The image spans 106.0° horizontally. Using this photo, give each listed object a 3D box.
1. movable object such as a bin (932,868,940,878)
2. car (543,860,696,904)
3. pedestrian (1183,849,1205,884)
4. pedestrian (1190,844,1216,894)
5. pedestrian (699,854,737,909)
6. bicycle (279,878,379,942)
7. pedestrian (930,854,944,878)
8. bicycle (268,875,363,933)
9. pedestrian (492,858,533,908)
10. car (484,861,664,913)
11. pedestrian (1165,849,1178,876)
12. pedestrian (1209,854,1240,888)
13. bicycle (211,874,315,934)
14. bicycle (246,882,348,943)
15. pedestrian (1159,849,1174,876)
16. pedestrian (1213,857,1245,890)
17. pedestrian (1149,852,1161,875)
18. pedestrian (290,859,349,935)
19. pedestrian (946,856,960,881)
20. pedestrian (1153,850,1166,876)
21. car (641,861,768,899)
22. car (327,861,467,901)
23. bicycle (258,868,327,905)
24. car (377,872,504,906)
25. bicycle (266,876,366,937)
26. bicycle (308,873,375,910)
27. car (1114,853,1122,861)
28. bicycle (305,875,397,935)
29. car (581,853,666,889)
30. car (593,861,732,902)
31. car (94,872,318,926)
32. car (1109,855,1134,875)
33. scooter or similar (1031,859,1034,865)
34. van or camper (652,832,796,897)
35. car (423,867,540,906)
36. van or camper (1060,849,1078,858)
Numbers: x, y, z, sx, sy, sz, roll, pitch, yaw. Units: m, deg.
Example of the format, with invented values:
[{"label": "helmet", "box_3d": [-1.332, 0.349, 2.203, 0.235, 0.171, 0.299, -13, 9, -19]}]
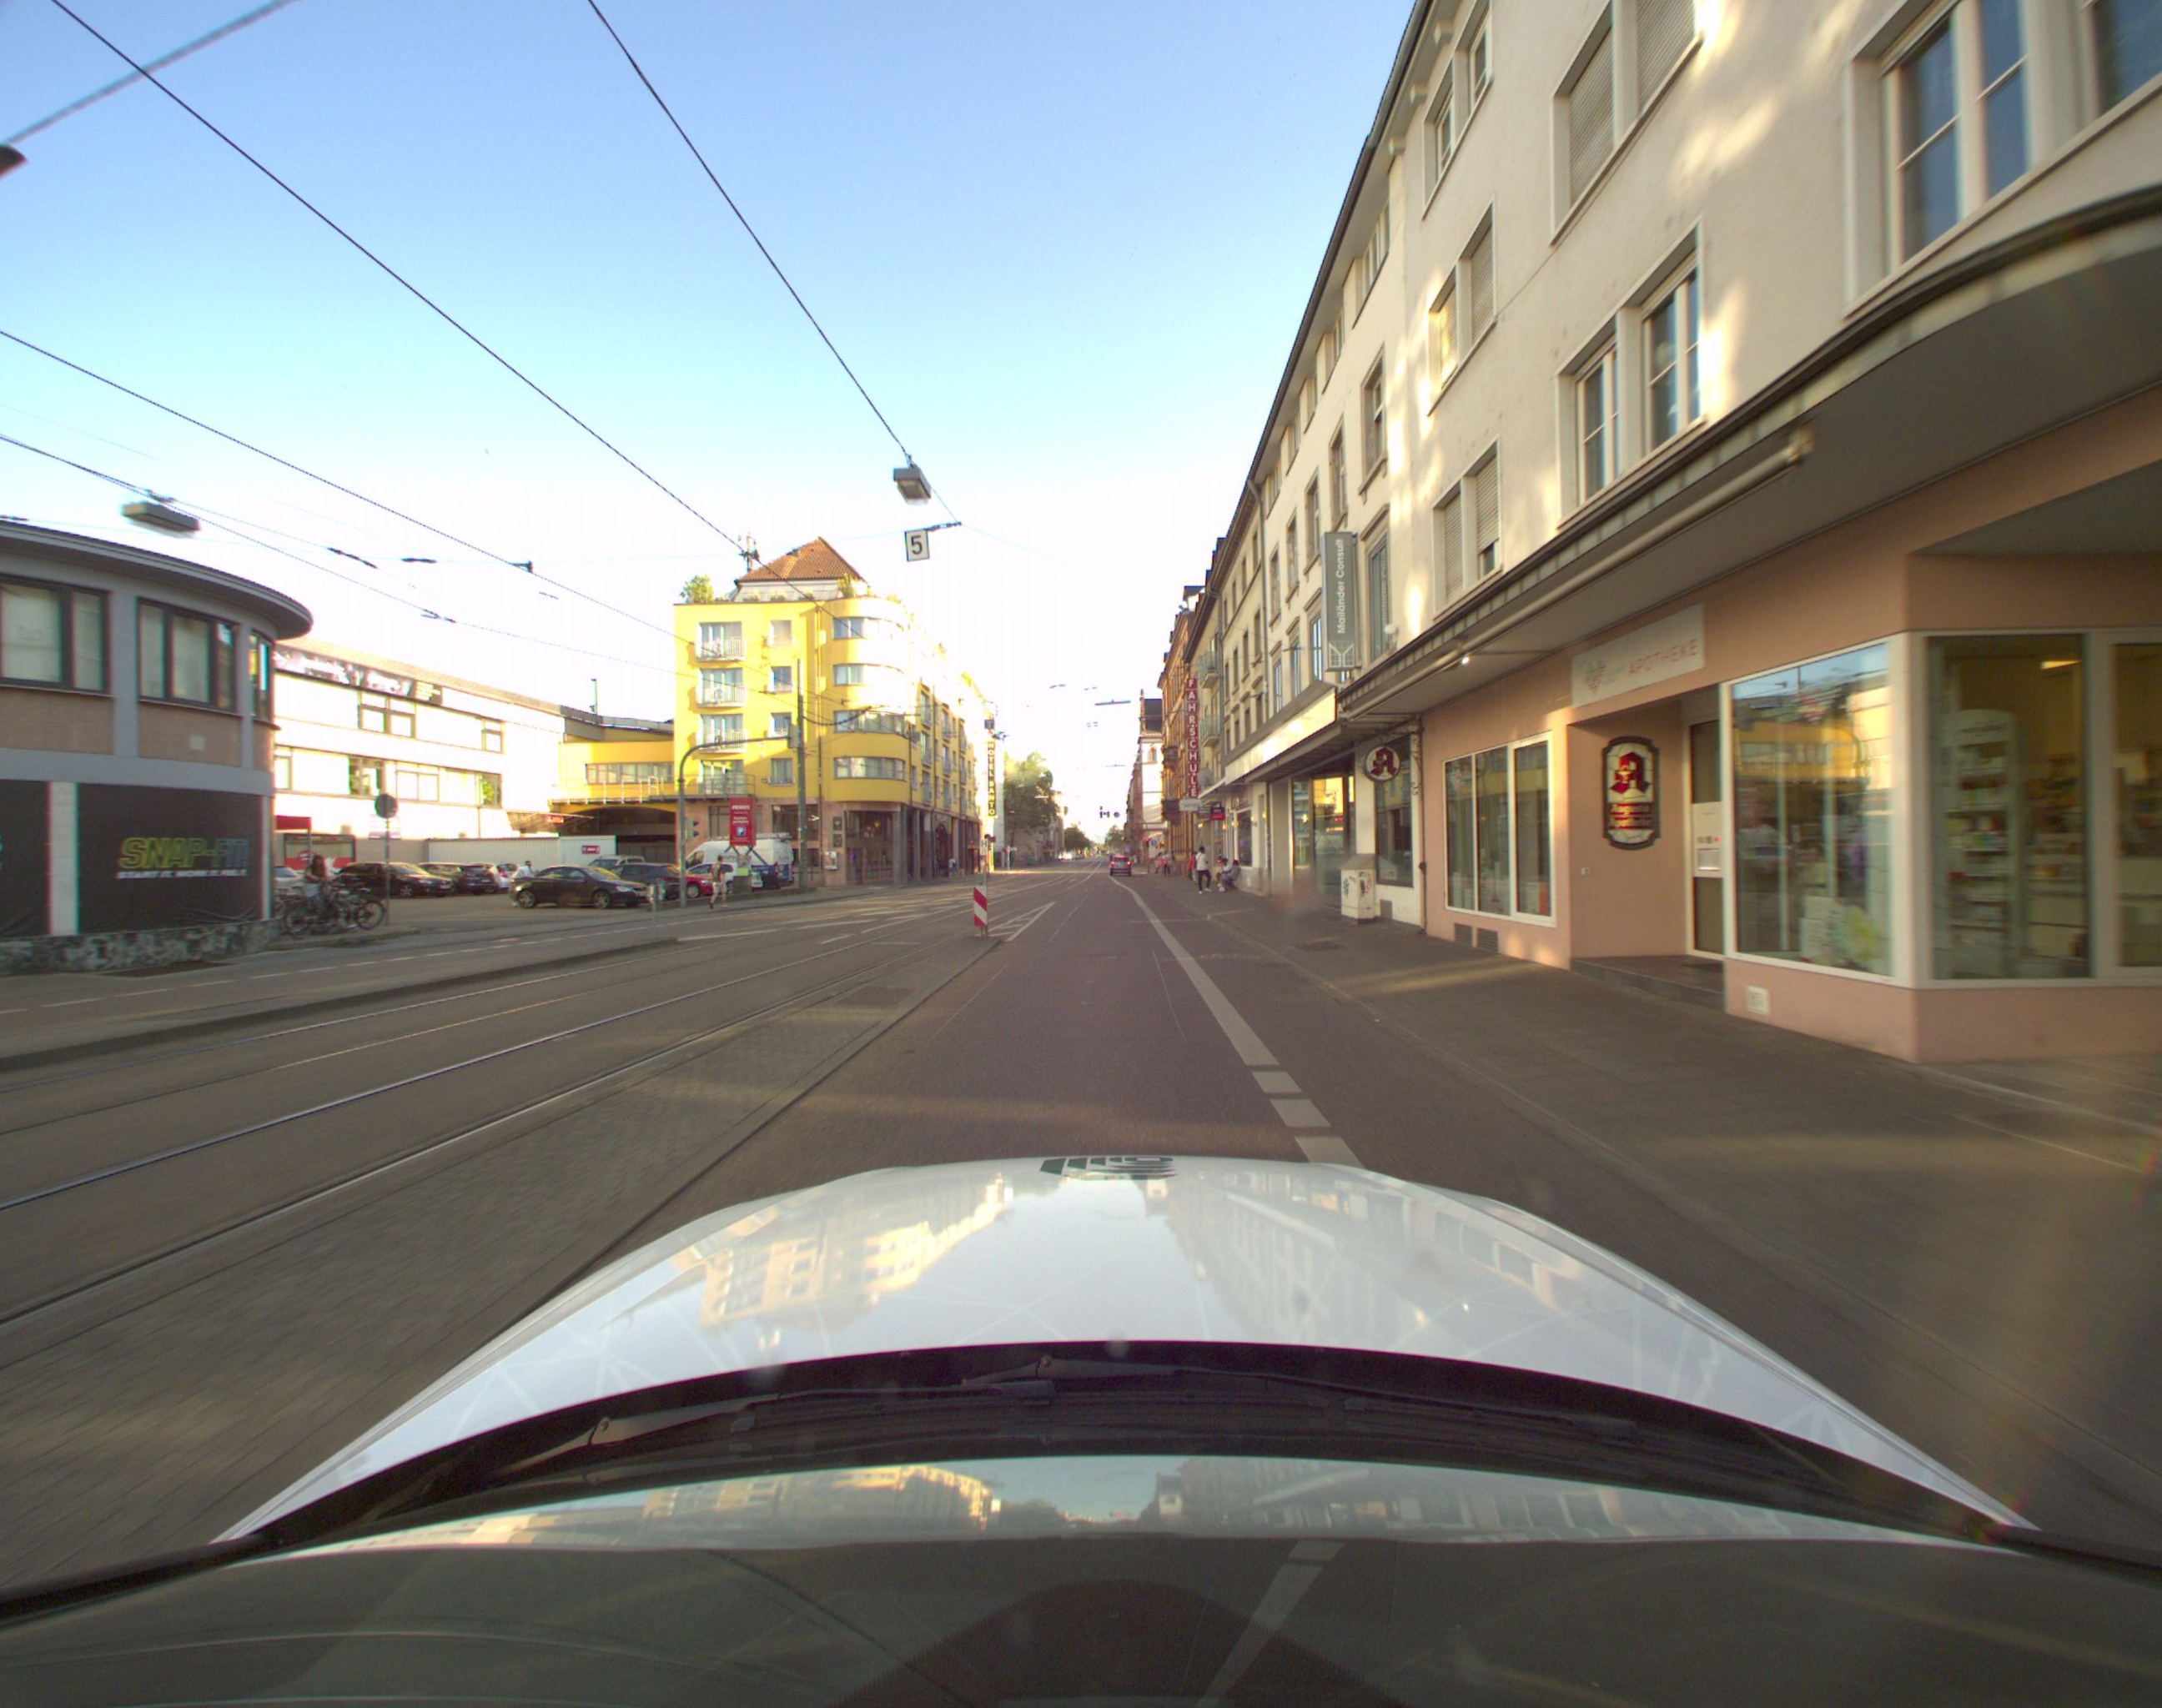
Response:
[{"label": "movable object such as a bin", "box_3d": [-10.914, 1.457, 61.354, 0.381, 0.716, 0.842, 4, 0, 3]}, {"label": "car", "box_3d": [-16.957, 1.014, 30.069, 4.570, 1.475, 1.881, -1, 0, 2]}, {"label": "pedestrian", "box_3d": [5.516, 0.614, 39.851, 0.795, 1.627, 0.826, -7, 0, 2]}, {"label": "pedestrian", "box_3d": [4.759, 0.577, 31.695, 0.699, 1.812, 0.682, -7, 0, 17]}, {"label": "pedestrian", "box_3d": [-12.432, 0.918, 27.930, 0.830, 1.832, 0.910, -1, 0, 1]}, {"label": "bicycle", "box_3d": [-15.655, 1.133, 17.015, 0.444, 1.187, 1.829, -1, 0, -4]}, {"label": "pedestrian", "box_3d": [-11.017, 0.935, 62.195, 0.795, 1.771, 0.750, 4, 0, 2]}, {"label": "bicycle", "box_3d": [-17.517, 1.115, 18.697, 0.446, 1.187, 1.831, -1, 0, -1]}, {"label": "pedestrian", "box_3d": [-19.340, 0.974, 27.712, 0.766, 1.669, 0.837, -1, 0, 3]}, {"label": "car", "box_3d": [-16.910, 1.077, 27.316, 4.875, 1.583, 1.881, -1, 0, 2]}, {"label": "pedestrian", "box_3d": [6.512, 0.609, 58.566, 0.688, 1.908, 0.670, -5, 0, 0]}, {"label": "pedestrian", "box_3d": [5.810, 0.700, 32.920, 0.834, 1.255, 0.699, -7, 0, -33]}, {"label": "bicycle", "box_3d": [-18.110, 1.079, 18.095, 0.446, 1.187, 1.831, -1, 0, -1]}, {"label": "bicycle", "box_3d": [-17.096, 1.240, 17.810, 0.441, 1.187, 1.831, -1, 0, -1]}, {"label": "pedestrian", "box_3d": [5.831, 0.561, 55.454, 0.803, 1.800, 1.092, -5, 0, 0]}, {"label": "pedestrian", "box_3d": [5.774, 0.755, 31.826, 0.707, 1.174, 1.010, -7, 0, -17]}, {"label": "pedestrian", "box_3d": [6.045, 0.760, 66.473, 0.802, 1.800, 0.762, -5, 0, 2]}, {"label": "pedestrian", "box_3d": [-17.566, 0.976, 18.794, 0.678, 1.697, 0.683, -1, 0, 0]}, {"label": "pedestrian", "box_3d": [-9.745, 1.113, 62.164, 0.749, 1.818, 1.046, 4, 0, 2]}, {"label": "pedestrian", "box_3d": [5.742, 0.661, 59.601, 0.803, 1.800, 0.761, -5, 0, 0]}, {"label": "car", "box_3d": [-16.165, 1.092, 35.094, 4.570, 1.475, 1.881, -1, 0, 2]}, {"label": "car", "box_3d": [-27.816, 1.076, 33.229, 3.974, 1.508, 1.999, -1, 0, -1]}, {"label": "bicycle", "box_3d": [-27.941, 1.133, 28.884, 0.429, 1.187, 1.836, -1, 0, 9]}, {"label": "car", "box_3d": [-28.082, 1.530, 35.797, 3.974, 1.354, 1.999, -1, 0, -1]}, {"label": "bicycle", "box_3d": [-16.635, 1.120, 17.777, 0.446, 1.187, 1.831, -1, 0, -1]}, {"label": "bicycle", "box_3d": [-25.936, 1.295, 28.600, 0.429, 1.187, 1.836, -1, 0, 9]}, {"label": "car", "box_3d": [8.627, 0.698, 190.300, 1.942, 1.684, 4.003, -1, 0, 3]}, {"label": "bicycle", "box_3d": [-16.144, 1.098, 18.072, 0.439, 1.187, 1.829, -1, 0, -3]}, {"label": "car", "box_3d": [-23.723, 0.861, 42.416, 1.987, 1.736, 4.121, -1, 0, 1]}, {"label": "car", "box_3d": [-16.714, 1.099, 32.678, 4.570, 1.475, 1.881, -1, 0, 2]}, {"label": "car", "box_3d": [-27.646, 1.382, 25.896, 4.589, 1.475, 1.873, -1, 0, -11]}, {"label": "car", "box_3d": [3.316, 0.893, 67.520, 1.986, 1.618, 4.001, -1, 0, 2]}, {"label": "scooter or similar", "box_3d": [-8.434, 1.352, 141.700, 0.515, 1.057, 1.478, -1, 0, 0]}, {"label": "van or camper", "box_3d": [-16.431, 0.470, 37.689, 5.583, 2.827, 2.317, -1, 0, 2]}, {"label": "car", "box_3d": [-28.045, 1.487, 38.196, 3.974, 1.700, 1.999, -1, 0, -1]}, {"label": "van or camper", "box_3d": [-3.531, -0.245, 238.988, 4.663, 2.563, 1.981, 0, -1, -29]}]
